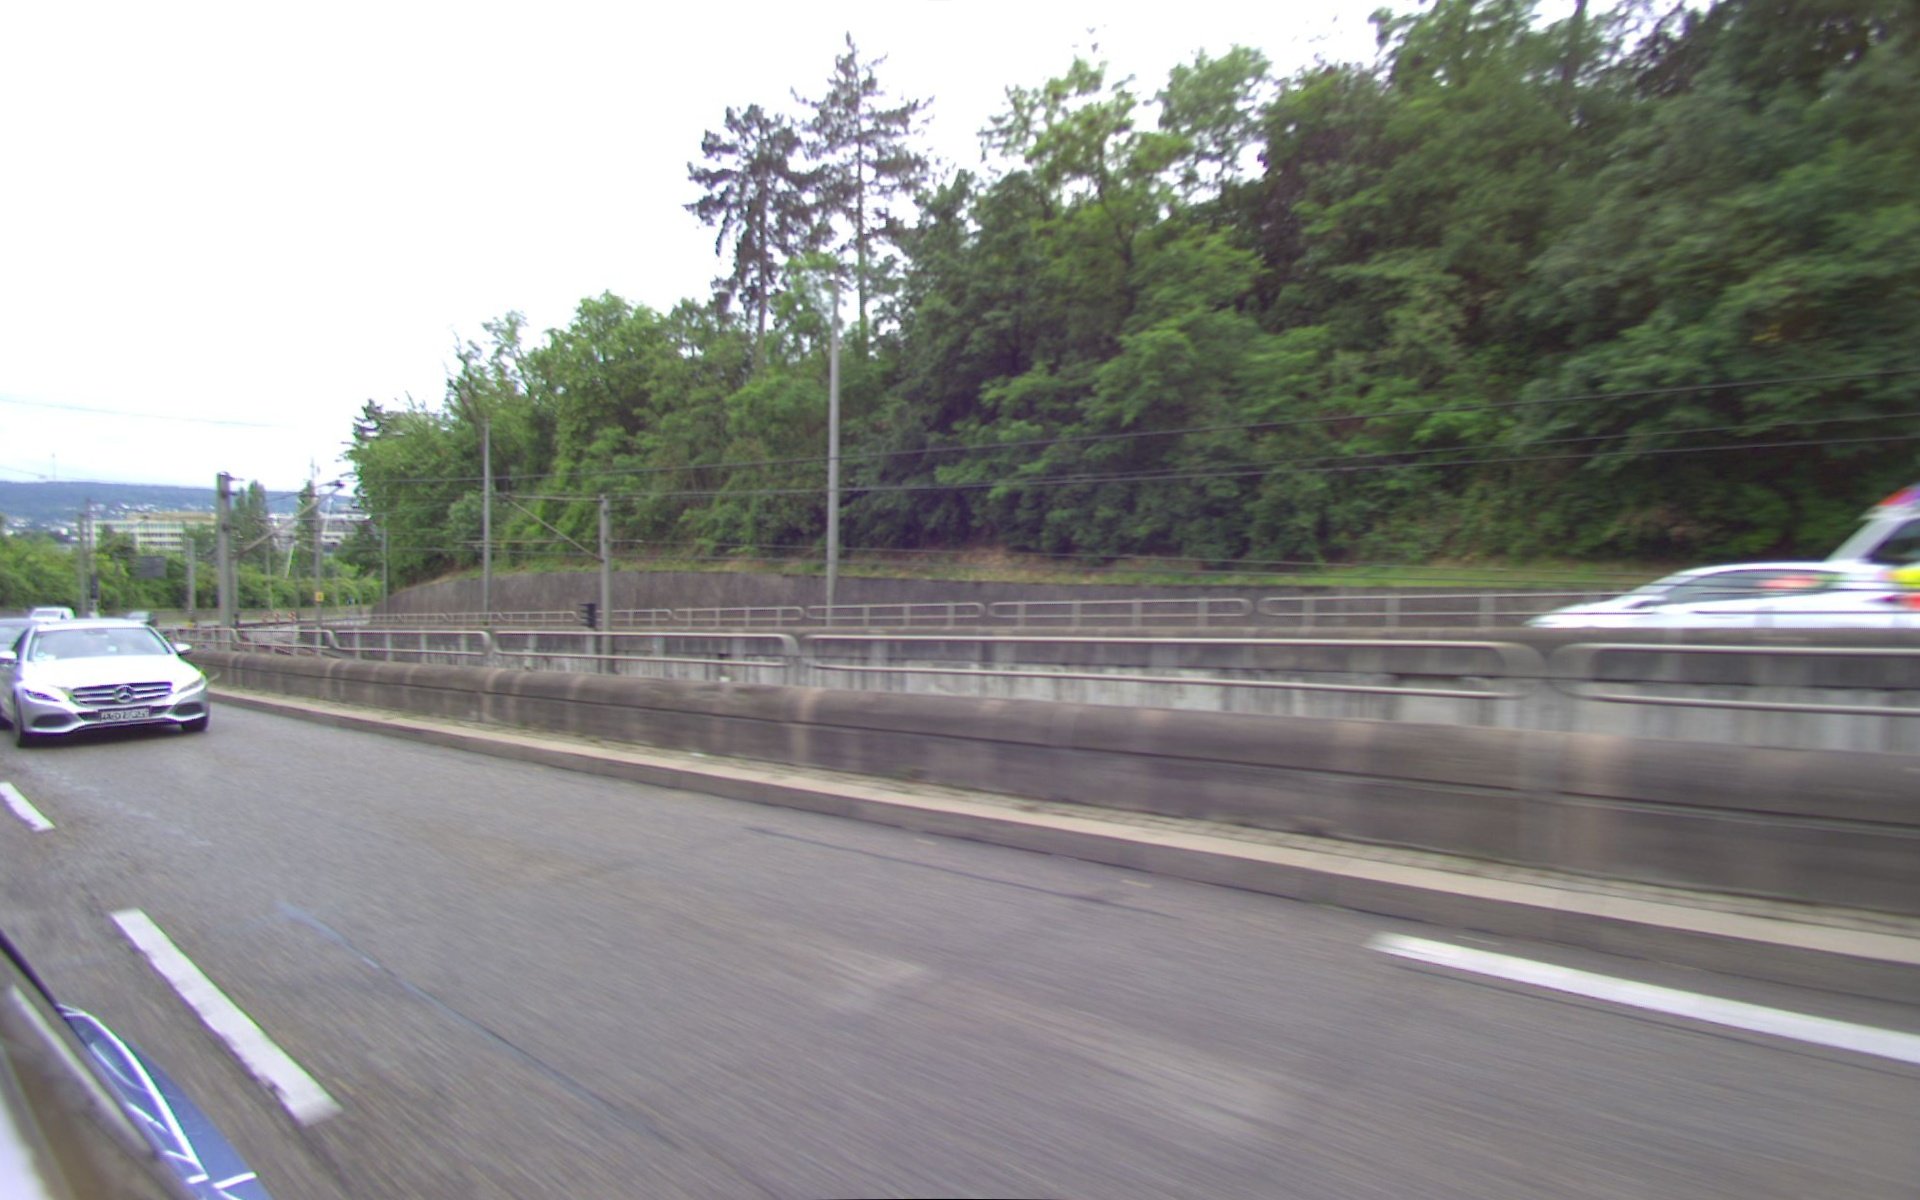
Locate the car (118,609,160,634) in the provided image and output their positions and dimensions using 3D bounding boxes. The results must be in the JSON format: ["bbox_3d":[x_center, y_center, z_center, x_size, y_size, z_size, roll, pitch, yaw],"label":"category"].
[{"bbox_3d":[-69.348,1.836,85.544,1.965,2.029,4.509,0,-1,-28],"label":"car"}]

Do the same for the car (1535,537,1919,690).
[{"bbox_3d":[9.941,0.161,13.132,4.105,1.717,1.800,0,0,38],"label":"car"}]

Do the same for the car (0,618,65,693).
[{"bbox_3d":[-20.467,1.152,21.665,3.889,1.482,1.706,-1,0,45],"label":"car"}]

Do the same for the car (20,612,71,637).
[{"bbox_3d":[-66.531,1.736,73.701,1.780,1.521,4.013,-3,3,-28],"label":"car"}]

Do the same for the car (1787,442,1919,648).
[{"bbox_3d":[14.979,-0.755,13.254,6.337,2.755,2.161,0,0,38],"label":"car"}]

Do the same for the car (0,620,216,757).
[{"bbox_3d":[-11.241,0.998,13.019,4.313,1.413,1.837,-1,0,42],"label":"car"}]
